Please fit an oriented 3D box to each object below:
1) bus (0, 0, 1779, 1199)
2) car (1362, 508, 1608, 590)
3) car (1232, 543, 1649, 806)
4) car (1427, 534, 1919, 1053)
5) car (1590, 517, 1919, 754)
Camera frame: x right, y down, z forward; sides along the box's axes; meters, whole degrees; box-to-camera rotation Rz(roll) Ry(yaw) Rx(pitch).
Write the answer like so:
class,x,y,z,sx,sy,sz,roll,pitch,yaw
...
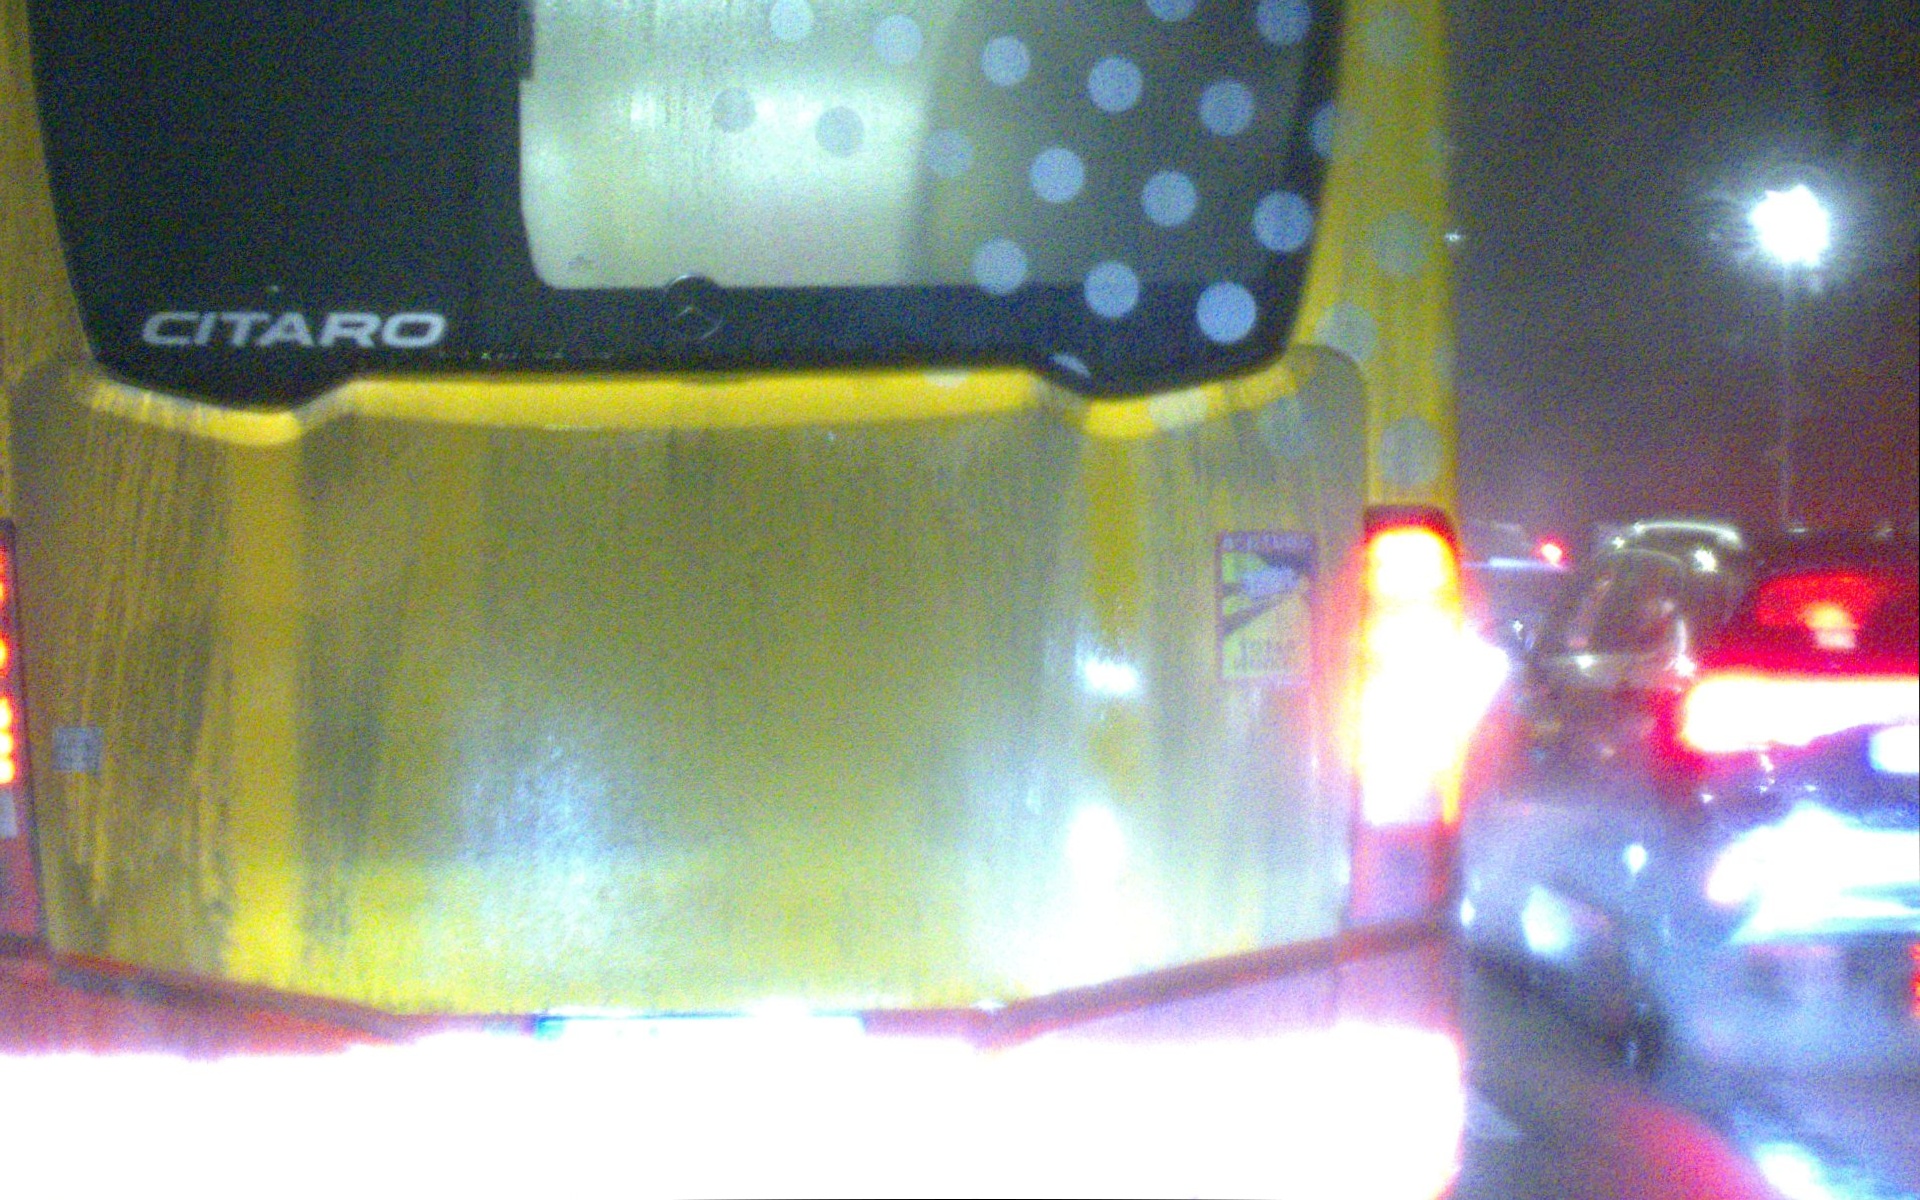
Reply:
class,x,y,z,sx,sy,sz,roll,pitch,yaw
bus,-0.615,-0.312,9.811,3.285,3.039,9.546,0,2,-2
car,10.500,-1.034,68.933,4.482,1.513,1.858,1,3,-8
car,2.605,0.348,19.500,1.686,1.326,3.961,-1,1,-2
car,2.863,0.555,12.094,1.677,1.516,3.961,1,1,-3
car,5.949,0.221,24.399,1.993,1.475,4.339,3,1,-1
